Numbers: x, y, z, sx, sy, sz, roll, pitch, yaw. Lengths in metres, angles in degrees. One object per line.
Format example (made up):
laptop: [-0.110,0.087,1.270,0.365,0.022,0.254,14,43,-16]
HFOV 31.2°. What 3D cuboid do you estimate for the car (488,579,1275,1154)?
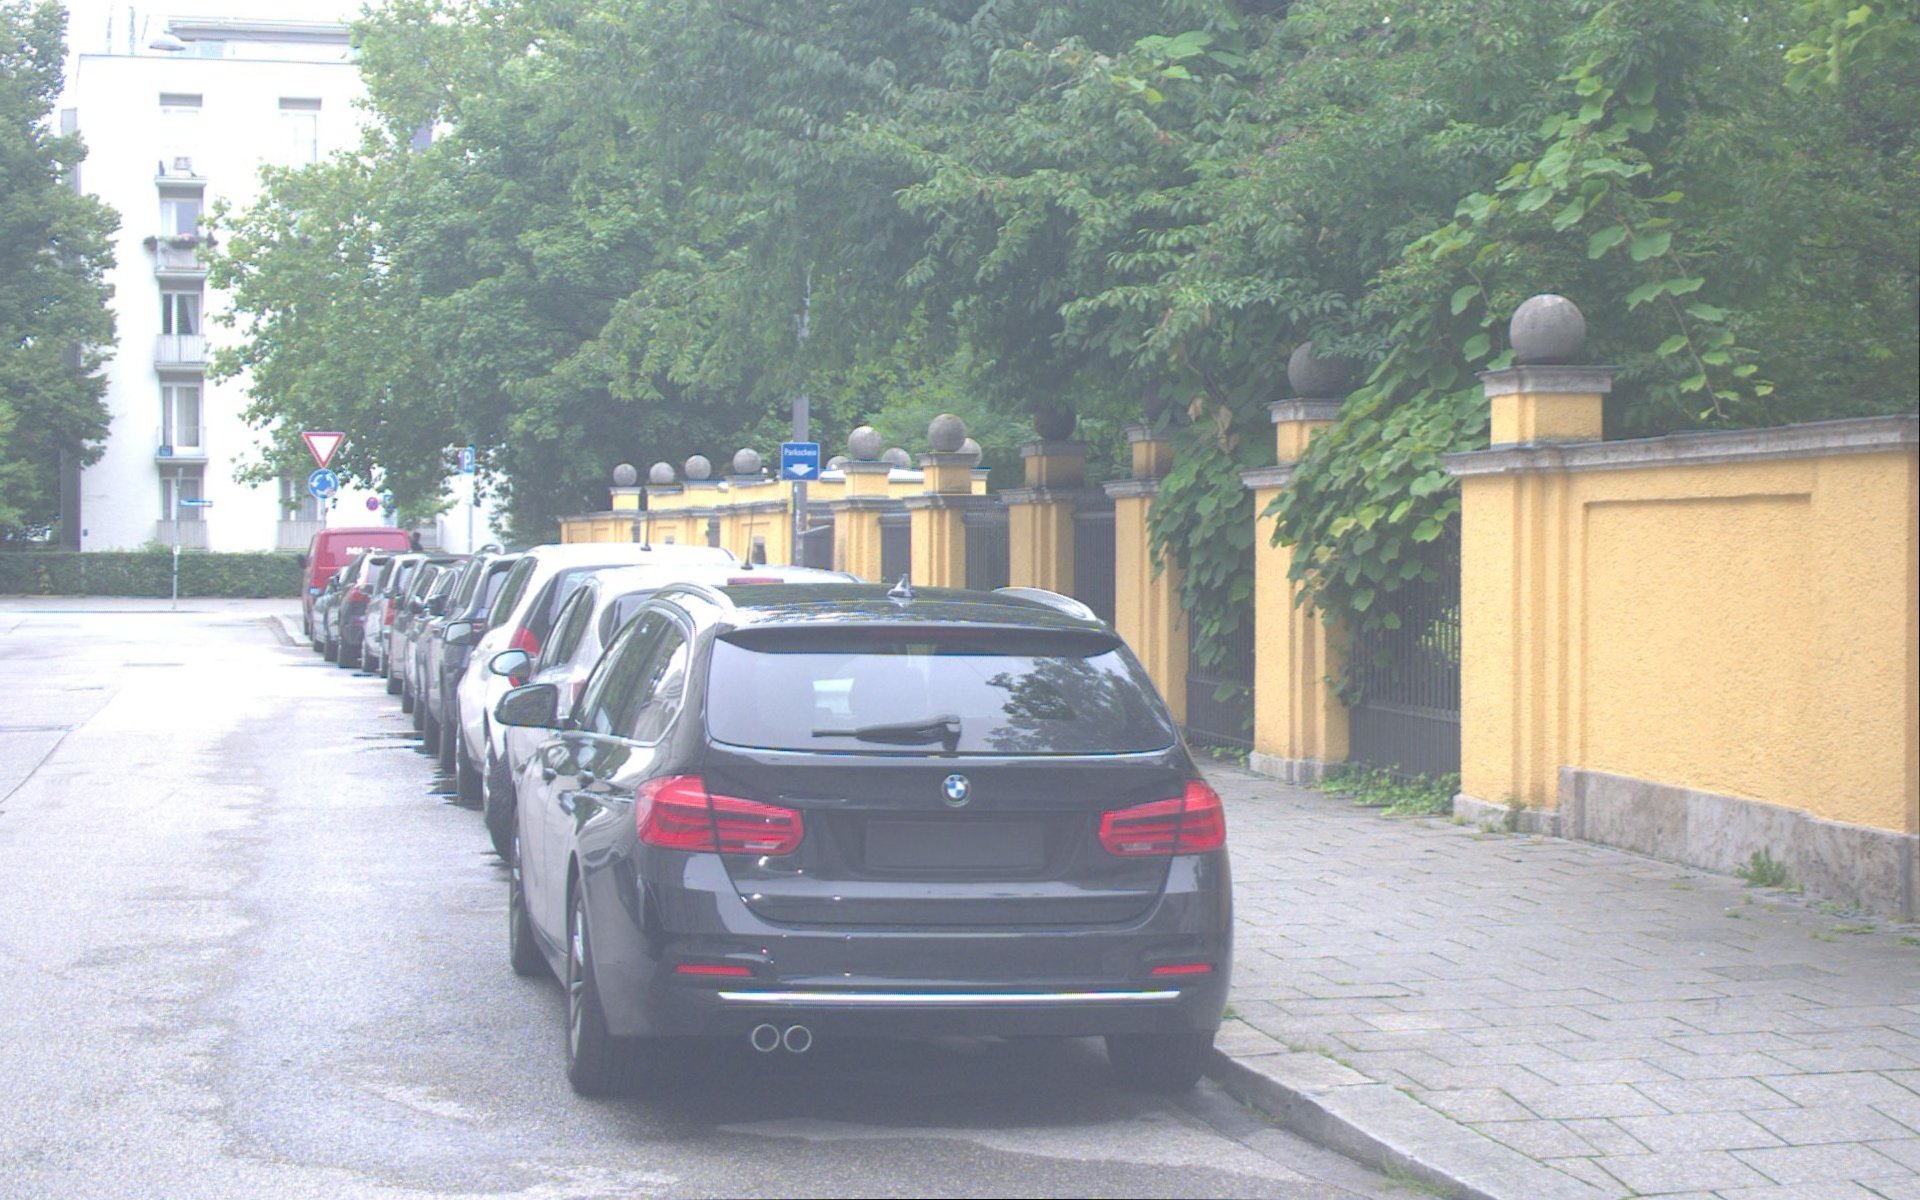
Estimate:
car: [-0.474,0.664,10.745,1.838,1.408,4.343,1,0,-9]

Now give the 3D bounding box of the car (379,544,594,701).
car: [-4.980,0.207,35.798,1.838,1.513,3.949,1,0,-13]

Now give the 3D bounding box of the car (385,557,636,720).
car: [-4.110,0.313,30.952,1.838,1.341,3.949,1,0,-13]

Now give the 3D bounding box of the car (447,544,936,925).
car: [-1.345,0.536,15.706,1.652,1.513,3.796,1,0,-13]

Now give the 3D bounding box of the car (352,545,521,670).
car: [-6.809,0.078,44.466,1.838,1.513,3.949,1,0,-13]

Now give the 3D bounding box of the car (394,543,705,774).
car: [-3.121,0.392,25.469,1.838,1.546,3.949,1,0,-13]

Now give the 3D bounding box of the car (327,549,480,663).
car: [-7.895,0.066,48.525,1.838,1.513,3.949,1,0,-13]

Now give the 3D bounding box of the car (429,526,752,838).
car: [-2.264,0.436,20.350,1.513,1.656,3.675,1,0,-12]

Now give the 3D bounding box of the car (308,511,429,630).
car: [-10.323,-0.546,60.235,1.836,1.920,4.006,3,1,-7]
